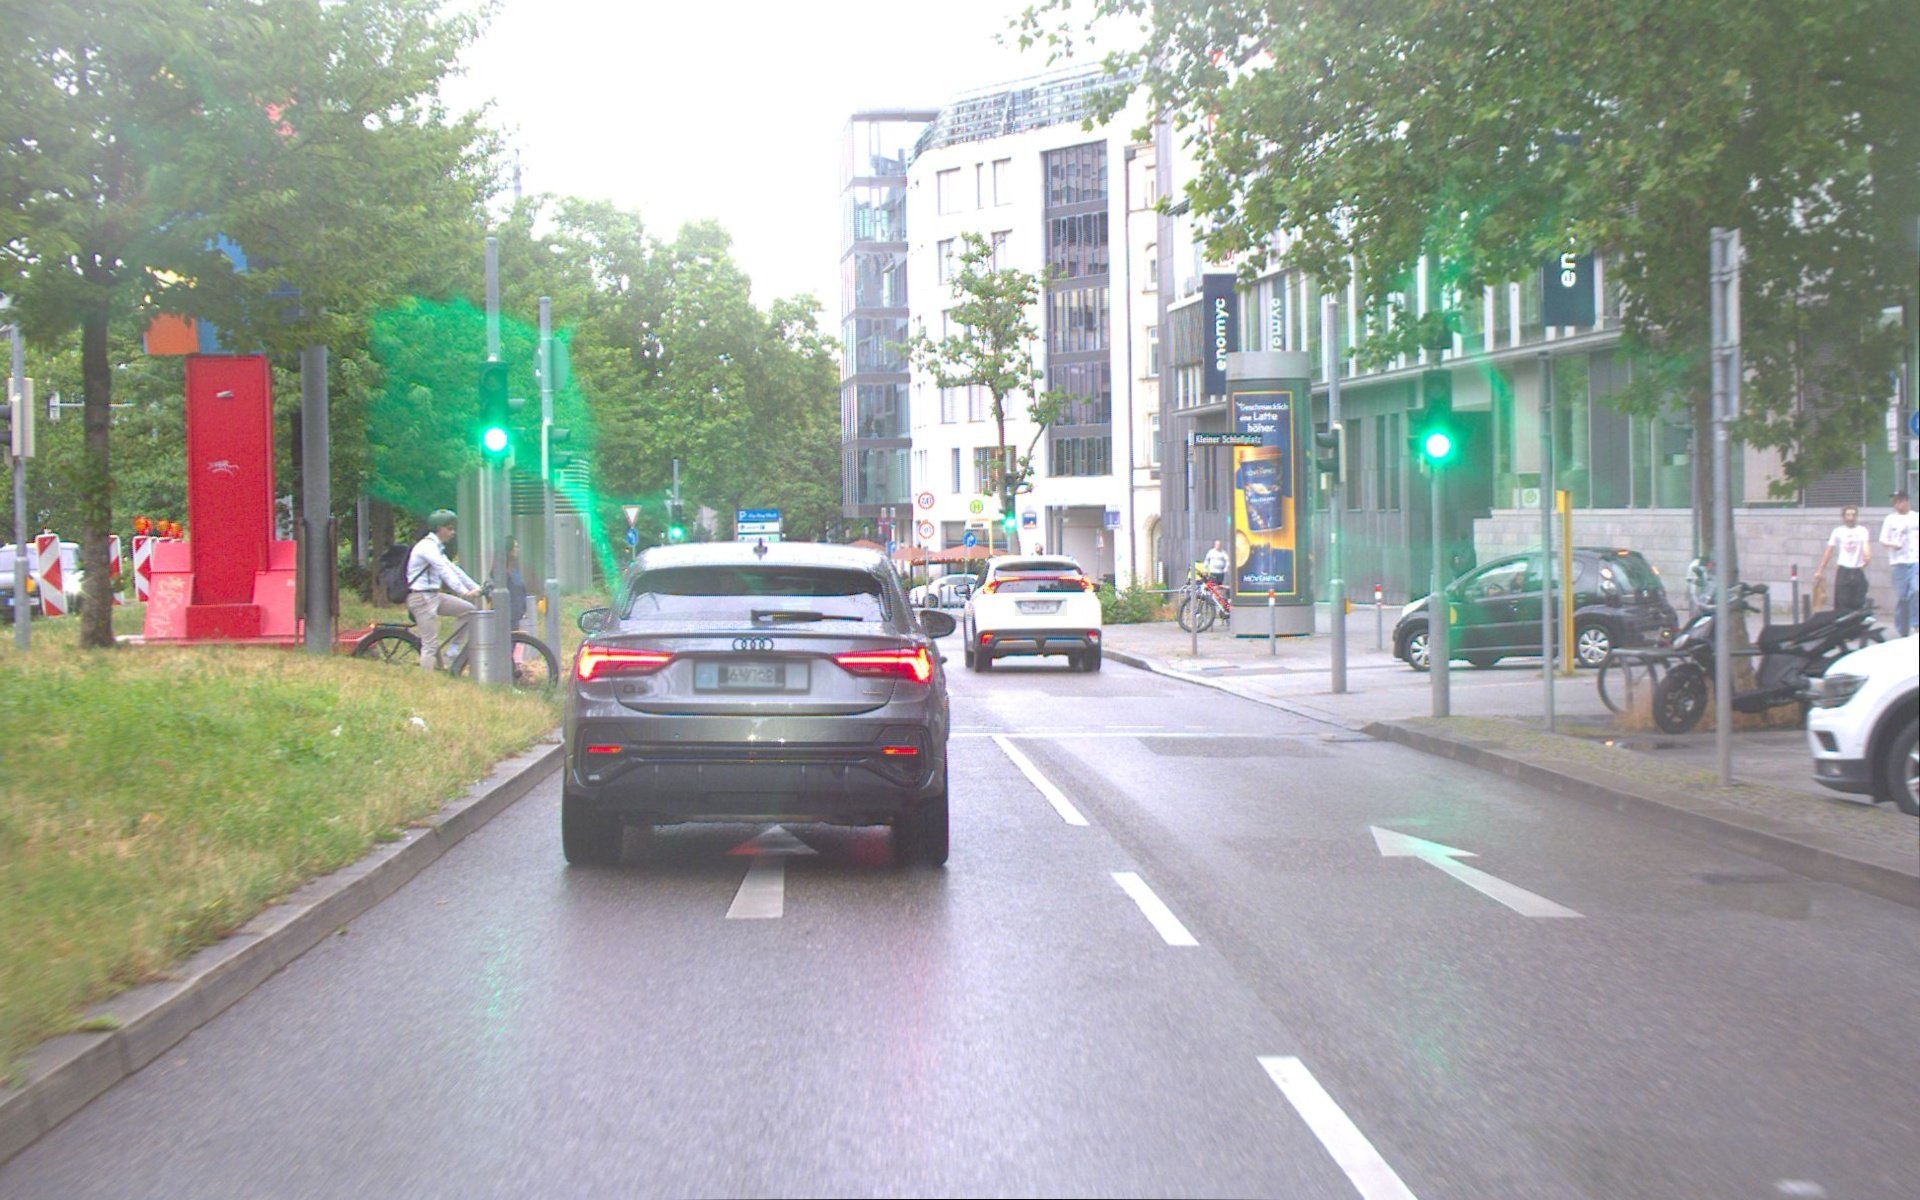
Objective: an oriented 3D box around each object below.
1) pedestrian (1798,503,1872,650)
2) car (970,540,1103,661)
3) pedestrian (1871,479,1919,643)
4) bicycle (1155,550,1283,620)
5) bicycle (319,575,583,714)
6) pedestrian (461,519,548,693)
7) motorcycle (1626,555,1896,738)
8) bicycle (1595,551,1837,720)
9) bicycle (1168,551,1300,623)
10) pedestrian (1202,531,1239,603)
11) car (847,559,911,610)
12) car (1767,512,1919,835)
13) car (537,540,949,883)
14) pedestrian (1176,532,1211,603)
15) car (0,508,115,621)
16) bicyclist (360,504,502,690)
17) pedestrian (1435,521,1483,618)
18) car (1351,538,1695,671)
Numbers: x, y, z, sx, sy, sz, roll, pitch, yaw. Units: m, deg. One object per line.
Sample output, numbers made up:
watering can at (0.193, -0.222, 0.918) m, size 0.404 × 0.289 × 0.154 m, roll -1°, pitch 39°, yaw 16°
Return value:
pedestrian at (11.450, -0.303, 45.008) m, size 0.867 × 1.897 × 0.885 m, roll 1°, pitch 0°, yaw 12°
car at (1.070, -0.027, 49.717) m, size 1.849 × 1.663 × 4.039 m, roll 0°, pitch 1°, yaw 0°
pedestrian at (12.404, -0.503, 44.824) m, size 0.936 × 2.108 × 1.075 m, roll 1°, pitch 0°, yaw 12°
bicycle at (4.934, -0.291, 65.554) m, size 2.337 × 1.308 × 0.710 m, roll 0°, pitch 1°, yaw -7°
bicycle at (-4.620, 0.402, 31.285) m, size 2.254 × 1.158 × 0.751 m, roll 2°, pitch 0°, yaw -1°
pedestrian at (-4.750, 0.061, 35.890) m, size 0.662 × 1.787 × 0.750 m, roll 1°, pitch 0°, yaw 13°
motorcycle at (6.371, 0.364, 27.421) m, size 2.029 × 1.410 × 0.725 m, roll 1°, pitch 0°, yaw 9°
bicycle at (6.494, 0.299, 29.613) m, size 1.983 × 1.410 × 0.725 m, roll 1°, pitch 0°, yaw 9°
bicycle at (5.066, -0.242, 63.672) m, size 2.337 × 1.308 × 0.710 m, roll 0°, pitch 1°, yaw -7°
pedestrian at (7.340, -0.927, 96.978) m, size 0.855 × 2.007 × 0.976 m, roll 1°, pitch 0°, yaw -5°
car at (-2.461, -0.503, 105.496) m, size 1.849 × 1.518 × 4.039 m, roll 0°, pitch 1°, yaw 0°
car at (6.544, 0.340, 17.894) m, size 4.223 × 1.663 × 1.836 m, roll -1°, pitch 1°, yaw 27°
car at (-0.996, 0.467, 17.484) m, size 1.849 × 1.518 × 4.039 m, roll 0°, pitch 1°, yaw 0°
pedestrian at (6.665, -0.939, 98.135) m, size 0.855 × 2.007 × 0.976 m, roll 1°, pitch 0°, yaw -5°
car at (-15.787, -0.622, 58.920) m, size 1.993 × 1.820 × 4.001 m, roll -2°, pitch 2°, yaw -7°
bicyclist at (-4.808, -0.027, 31.286) m, size 1.104 × 1.616 × 0.751 m, roll 3°, pitch 0°, yaw -1°
pedestrian at (10.930, -0.663, 75.283) m, size 0.936 × 2.108 × 1.075 m, roll 1°, pitch 0°, yaw 12°
car at (6.863, 0.033, 42.102) m, size 3.861 × 1.562 × 1.663 m, roll 1°, pitch 0°, yaw 42°
